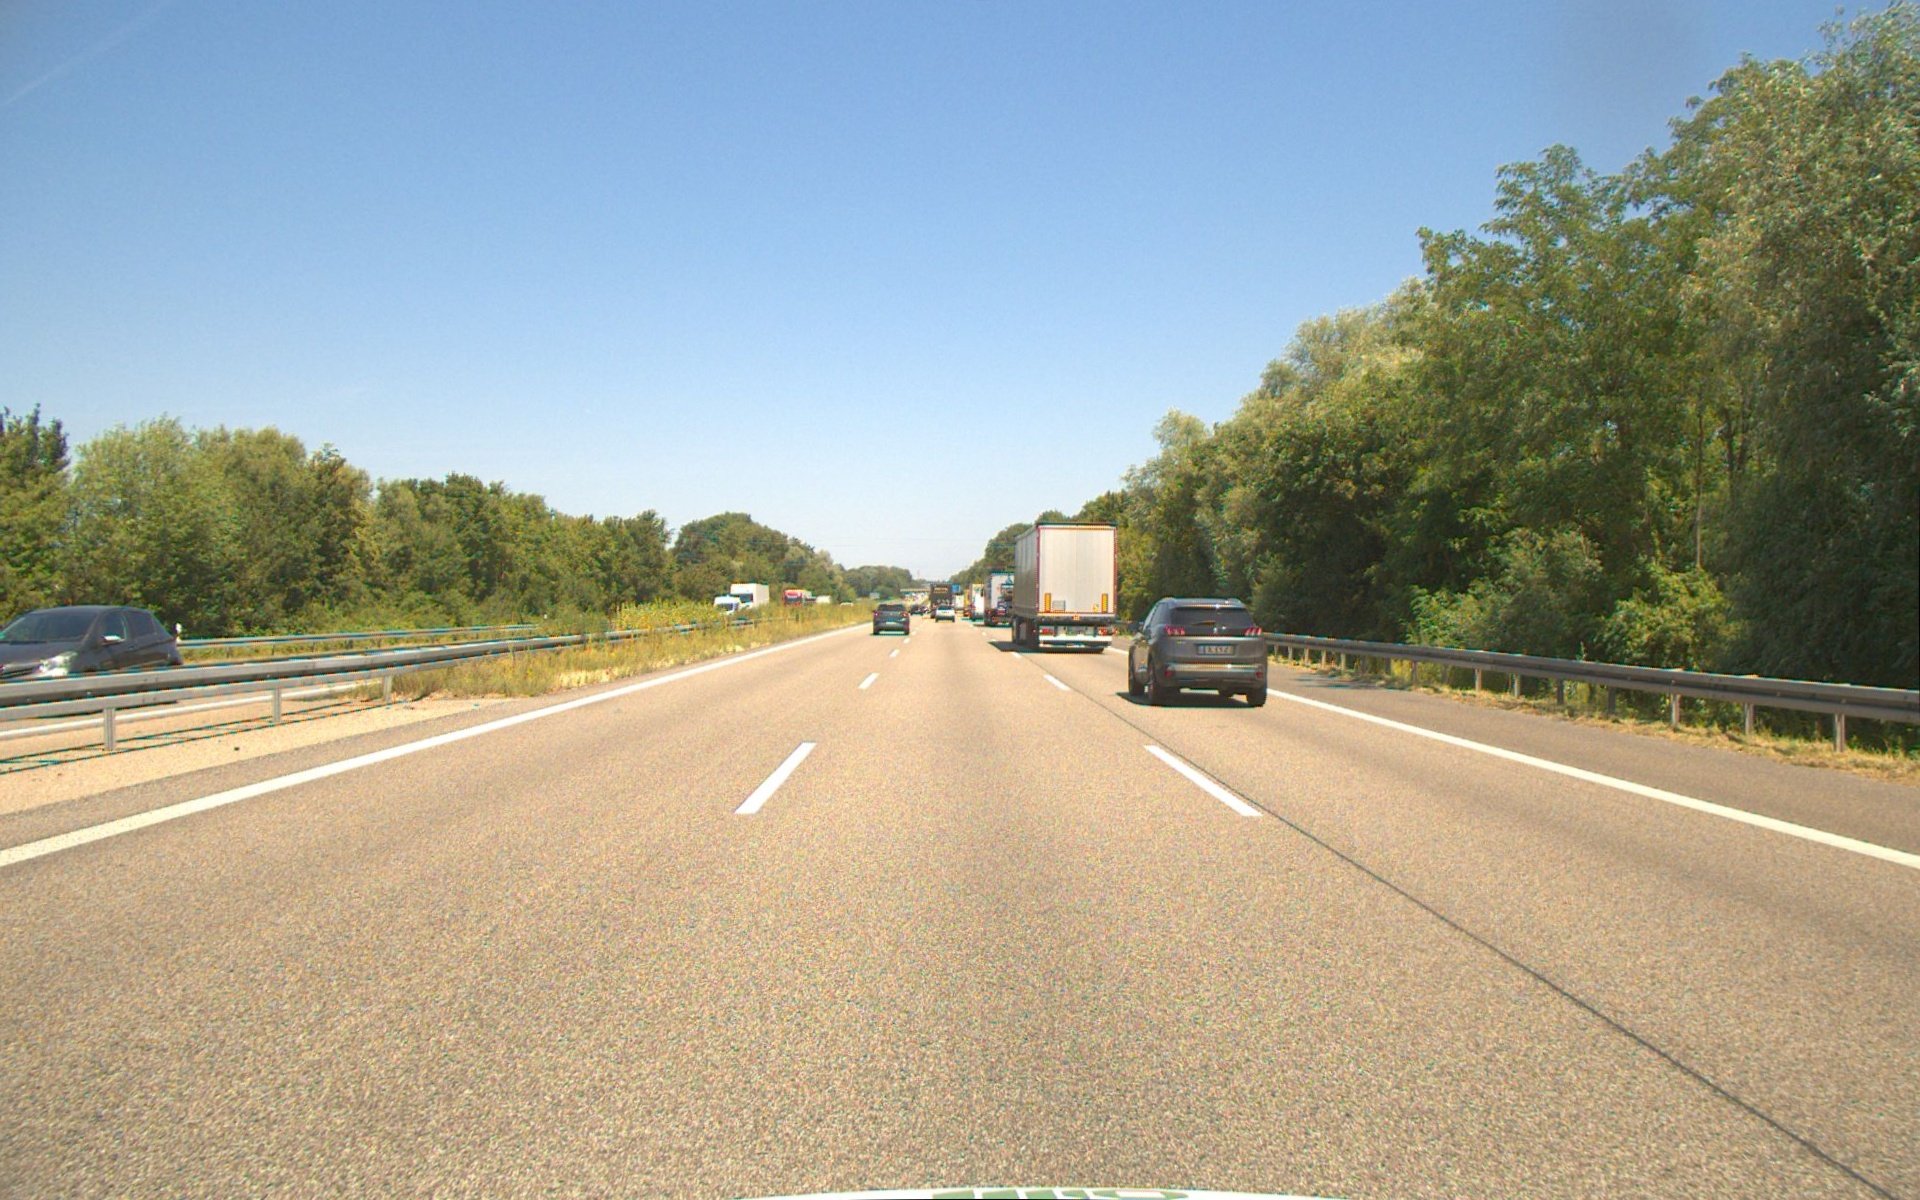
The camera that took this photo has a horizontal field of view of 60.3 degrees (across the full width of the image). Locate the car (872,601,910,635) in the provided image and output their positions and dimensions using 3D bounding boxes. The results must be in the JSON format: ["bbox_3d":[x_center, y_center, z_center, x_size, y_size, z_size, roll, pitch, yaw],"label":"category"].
[{"bbox_3d":[-3.374,0.868,81.429,1.723,1.557,4.285,1,1,-1],"label":"car"}]

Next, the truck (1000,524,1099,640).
[{"bbox_3d":[3.413,-0.633,65.042,3.393,4.250,6.843,1,-1,-1],"label":"truck"}]

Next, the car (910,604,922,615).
[{"bbox_3d":[-6.926,1.466,260.147,1.869,1.557,4.285,1,1,-1],"label":"car"}]

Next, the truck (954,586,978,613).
[{"bbox_3d":[0.874,-0.069,240.672,3.417,3.791,7.109,1,1,0],"label":"truck"}]

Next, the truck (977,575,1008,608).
[{"bbox_3d":[3.799,-1.021,194.890,3.592,3.791,7.109,1,1,0],"label":"truck"}]

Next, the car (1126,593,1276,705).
[{"bbox_3d":[3.802,0.727,26.760,1.807,1.657,4.134,0,0,0],"label":"car"}]

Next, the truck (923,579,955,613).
[{"bbox_3d":[-2.404,-0.516,194.588,3.592,3.791,7.109,1,1,0],"label":"truck"}]

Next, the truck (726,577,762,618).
[{"bbox_3d":[-22.709,-0.281,174.150,3.009,4.183,6.524,1,1,-1],"label":"truck"}]

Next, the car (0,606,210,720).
[{"bbox_3d":[-12.543,0.848,24.009,1.521,1.488,4.045,-1,0,-1],"label":"car"}]

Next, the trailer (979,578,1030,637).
[{"bbox_3d":[3.110,0.429,117.626,3.059,3.995,9.934,1,1,-2],"label":"trailer"}]

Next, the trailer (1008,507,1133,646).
[{"bbox_3d":[3.631,-0.721,58.124,3.364,4.254,13.630,1,0,0],"label":"trailer"}]

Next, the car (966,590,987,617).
[{"bbox_3d":[1.566,0.336,160.336,1.869,2.467,4.285,1,1,-1],"label":"car"}]

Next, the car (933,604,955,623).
[{"bbox_3d":[-1.446,1.175,147.621,1.862,1.557,4.083,1,1,-1],"label":"car"}]

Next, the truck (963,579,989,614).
[{"bbox_3d":[1.798,-0.439,184.291,2.735,3.791,7.109,1,1,1],"label":"truck"}]

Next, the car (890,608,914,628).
[{"bbox_3d":[-4.920,1.484,140.907,1.862,1.557,4.083,1,1,-1],"label":"car"}]
